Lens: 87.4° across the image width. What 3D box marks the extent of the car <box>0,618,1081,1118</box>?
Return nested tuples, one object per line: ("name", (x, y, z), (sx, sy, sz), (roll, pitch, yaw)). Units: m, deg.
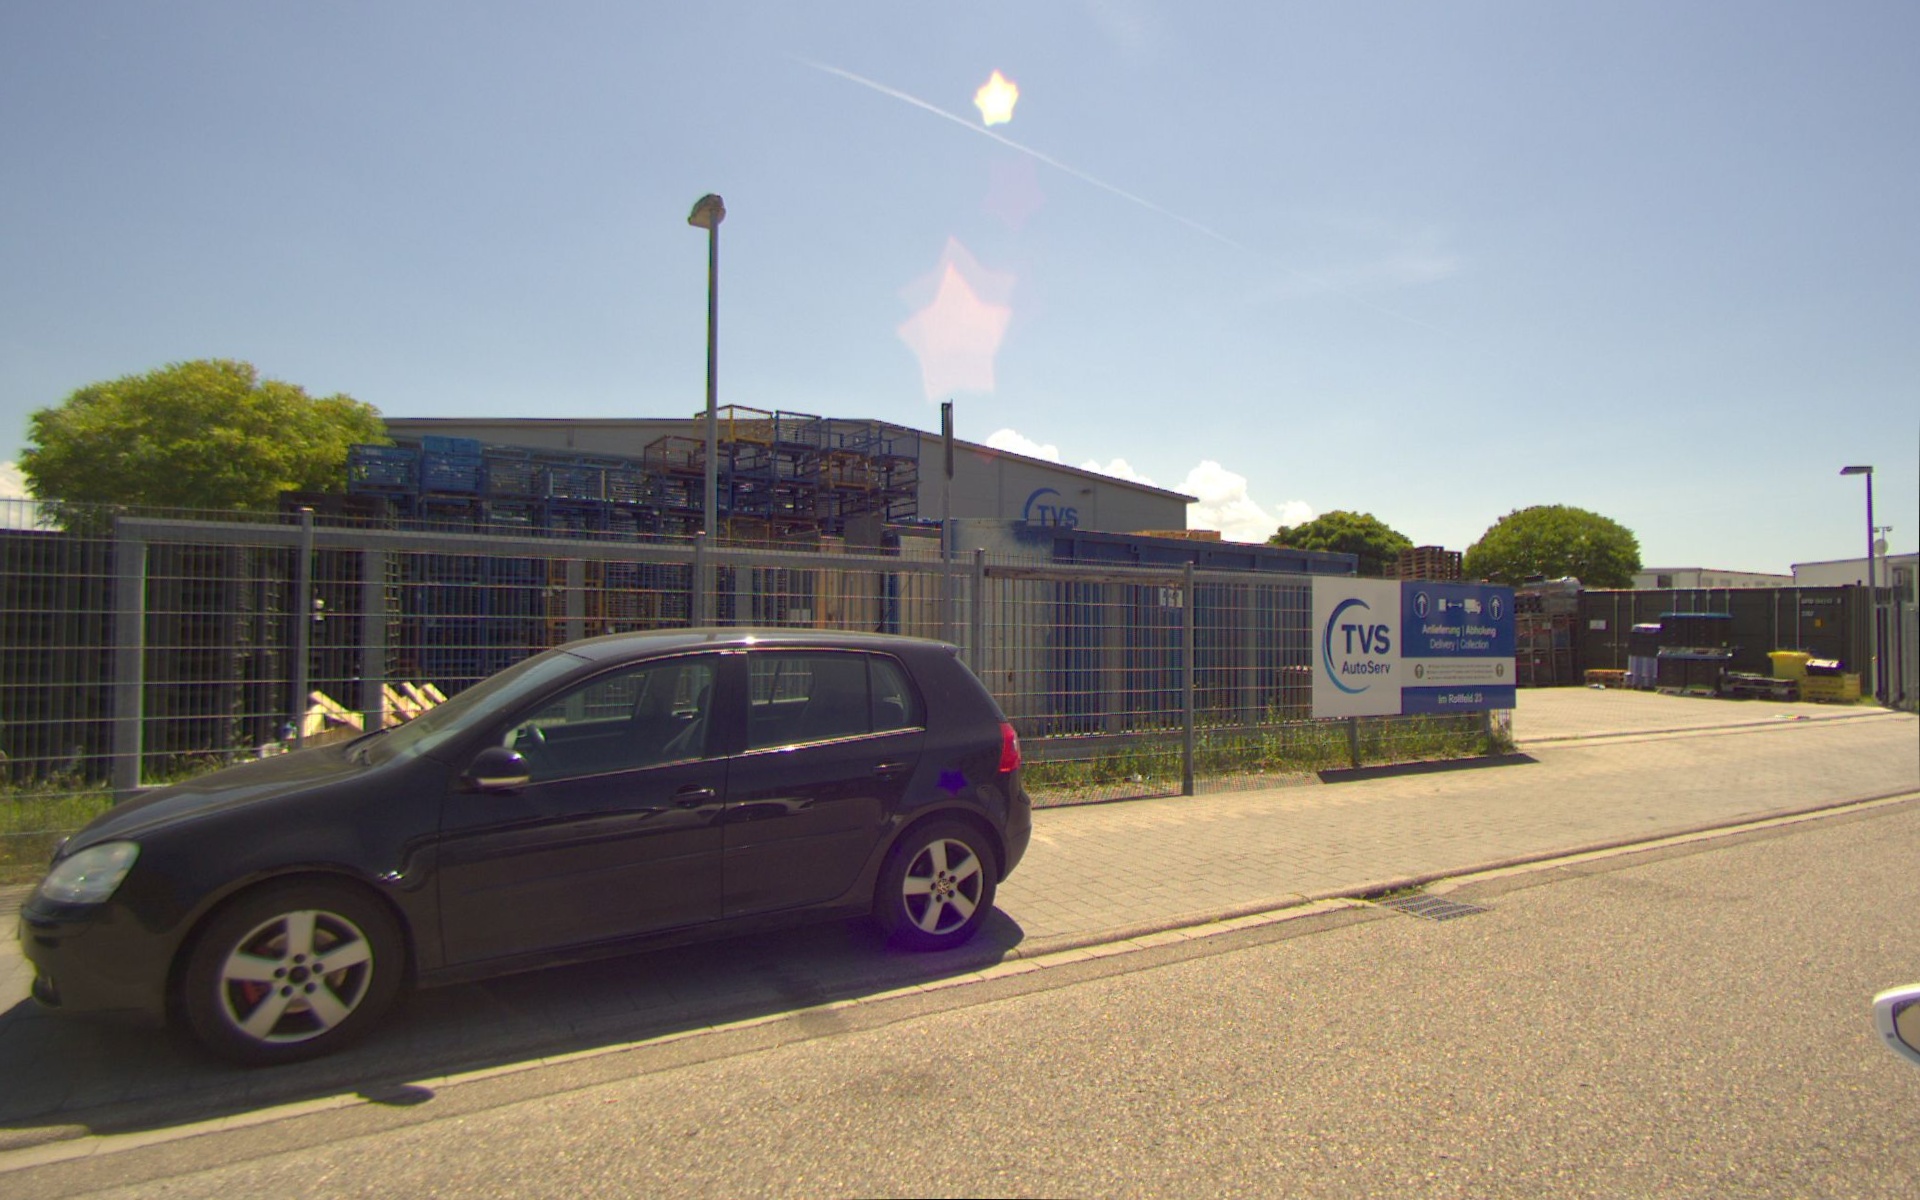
("car", (-1.678, 0.867, 4.737), (4.282, 1.480, 1.760), (2, -1, -30))
